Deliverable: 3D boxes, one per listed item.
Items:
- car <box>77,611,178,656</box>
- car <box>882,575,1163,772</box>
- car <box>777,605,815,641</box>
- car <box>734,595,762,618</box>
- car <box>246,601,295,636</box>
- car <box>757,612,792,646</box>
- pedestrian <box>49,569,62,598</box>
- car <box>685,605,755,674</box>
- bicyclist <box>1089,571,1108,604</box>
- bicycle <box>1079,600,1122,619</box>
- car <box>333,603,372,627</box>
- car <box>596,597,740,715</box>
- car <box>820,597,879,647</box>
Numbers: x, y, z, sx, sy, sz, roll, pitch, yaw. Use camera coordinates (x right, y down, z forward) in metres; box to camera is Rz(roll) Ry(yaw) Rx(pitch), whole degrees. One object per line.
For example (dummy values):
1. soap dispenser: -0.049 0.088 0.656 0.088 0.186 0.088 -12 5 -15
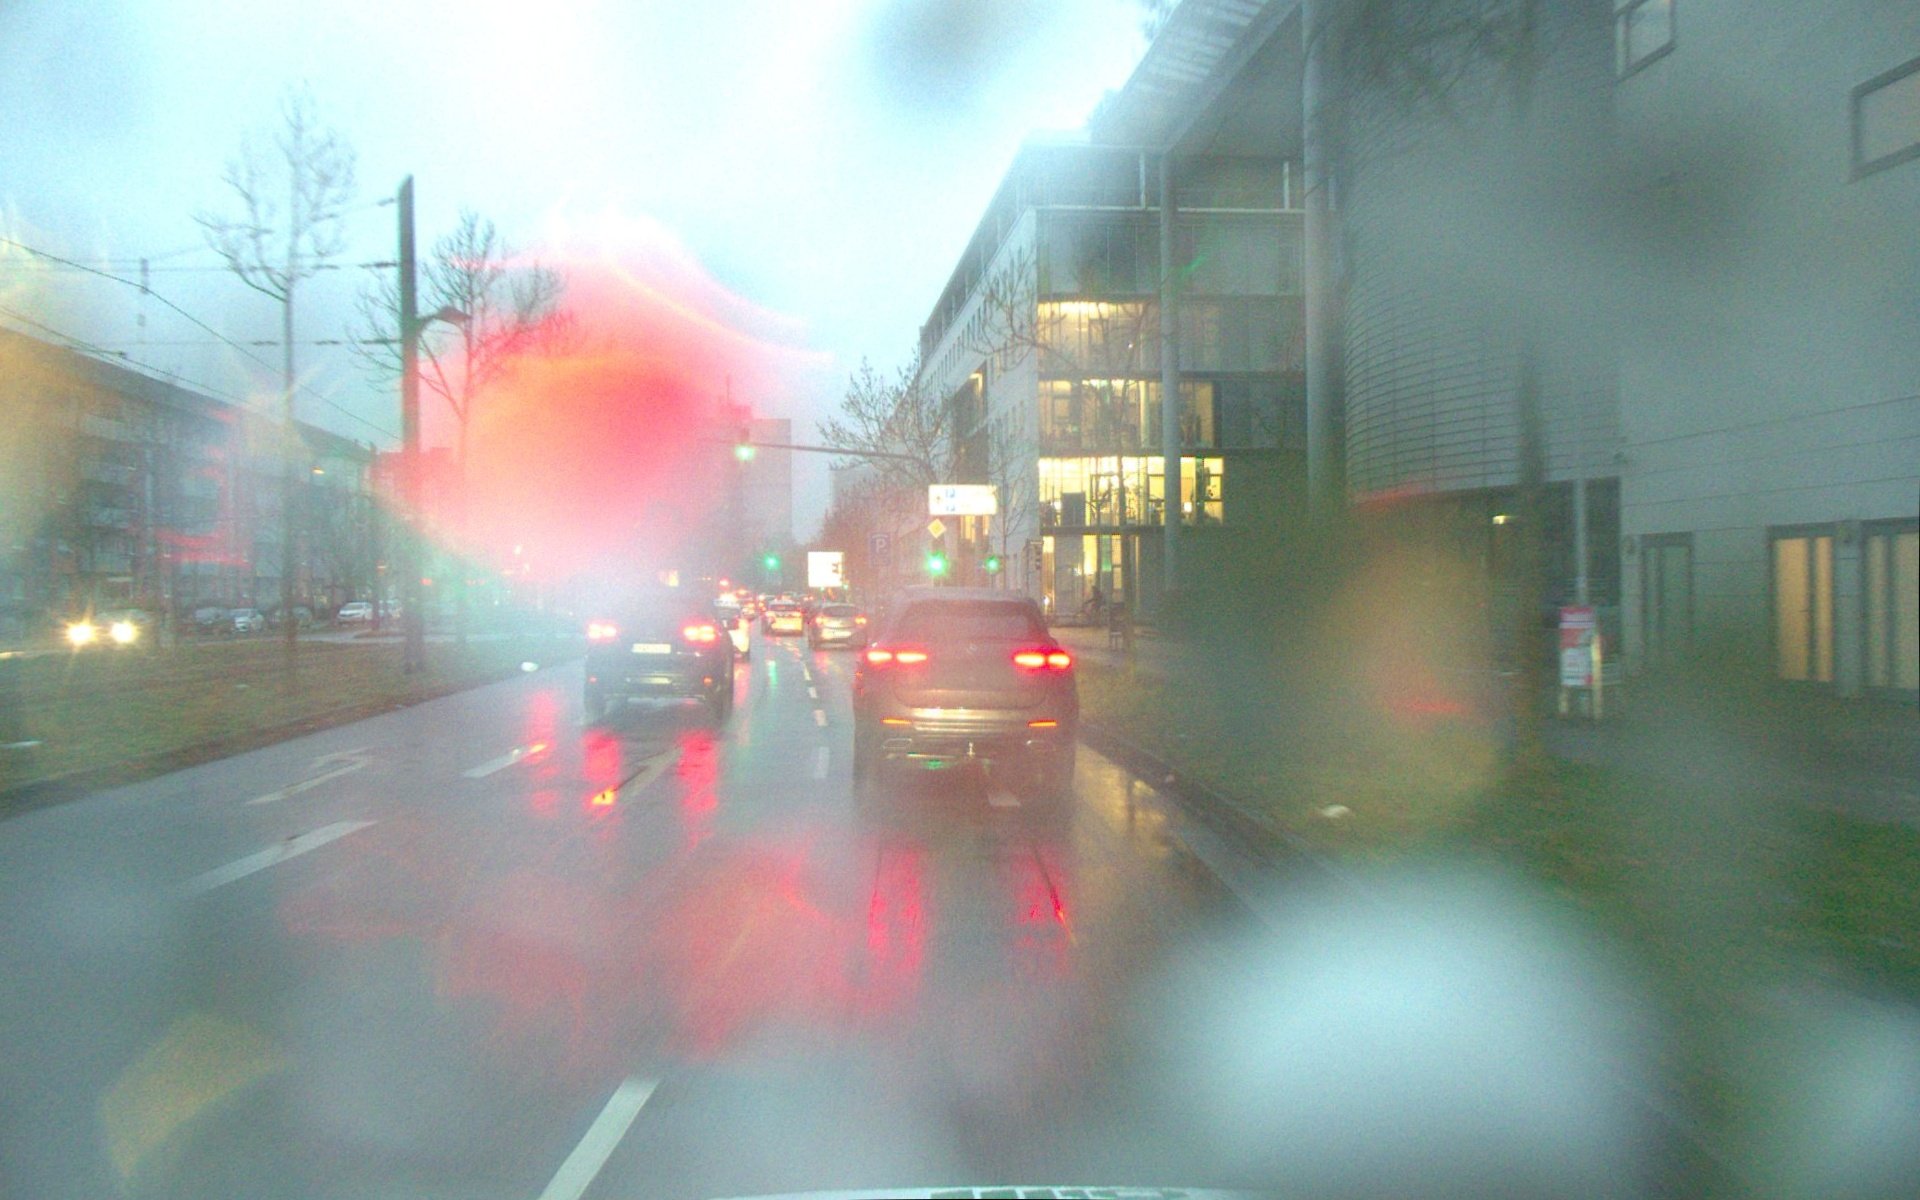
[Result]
1. car: -31.209 1.232 62.164 1.844 1.529 4.782 1 0 -7
2. car: 0.411 0.588 14.762 1.955 1.509 3.694 1 0 -7
3. car: -7.289 0.995 73.555 1.592 1.524 3.521 1 0 -6
4. car: -16.271 0.481 127.297 1.955 1.745 3.419 1 0 -5
5. car: -42.585 1.133 102.240 1.957 2.049 3.990 1 0 -10
6. car: -8.879 1.356 79.337 1.584 1.548 3.403 1 0 -6
7. pedestrian: -38.109 -0.680 69.704 0.426 1.205 0.344 0 -1 43
8. car: -6.188 0.987 42.956 1.657 1.664 3.468 1 0 -7
9. bicyclist: 5.860 -0.534 69.910 0.609 1.353 0.565 1 0 26
10. bicycle: 5.927 0.384 69.852 1.695 0.758 0.651 1 0 27
11. car: -43.387 1.048 118.149 1.897 1.625 3.719 1 0 -10
12. car: -4.003 0.722 23.108 1.783 1.476 3.992 1 0 -8
13. car: -3.627 0.707 54.357 1.830 1.570 3.608 1 0 -4
